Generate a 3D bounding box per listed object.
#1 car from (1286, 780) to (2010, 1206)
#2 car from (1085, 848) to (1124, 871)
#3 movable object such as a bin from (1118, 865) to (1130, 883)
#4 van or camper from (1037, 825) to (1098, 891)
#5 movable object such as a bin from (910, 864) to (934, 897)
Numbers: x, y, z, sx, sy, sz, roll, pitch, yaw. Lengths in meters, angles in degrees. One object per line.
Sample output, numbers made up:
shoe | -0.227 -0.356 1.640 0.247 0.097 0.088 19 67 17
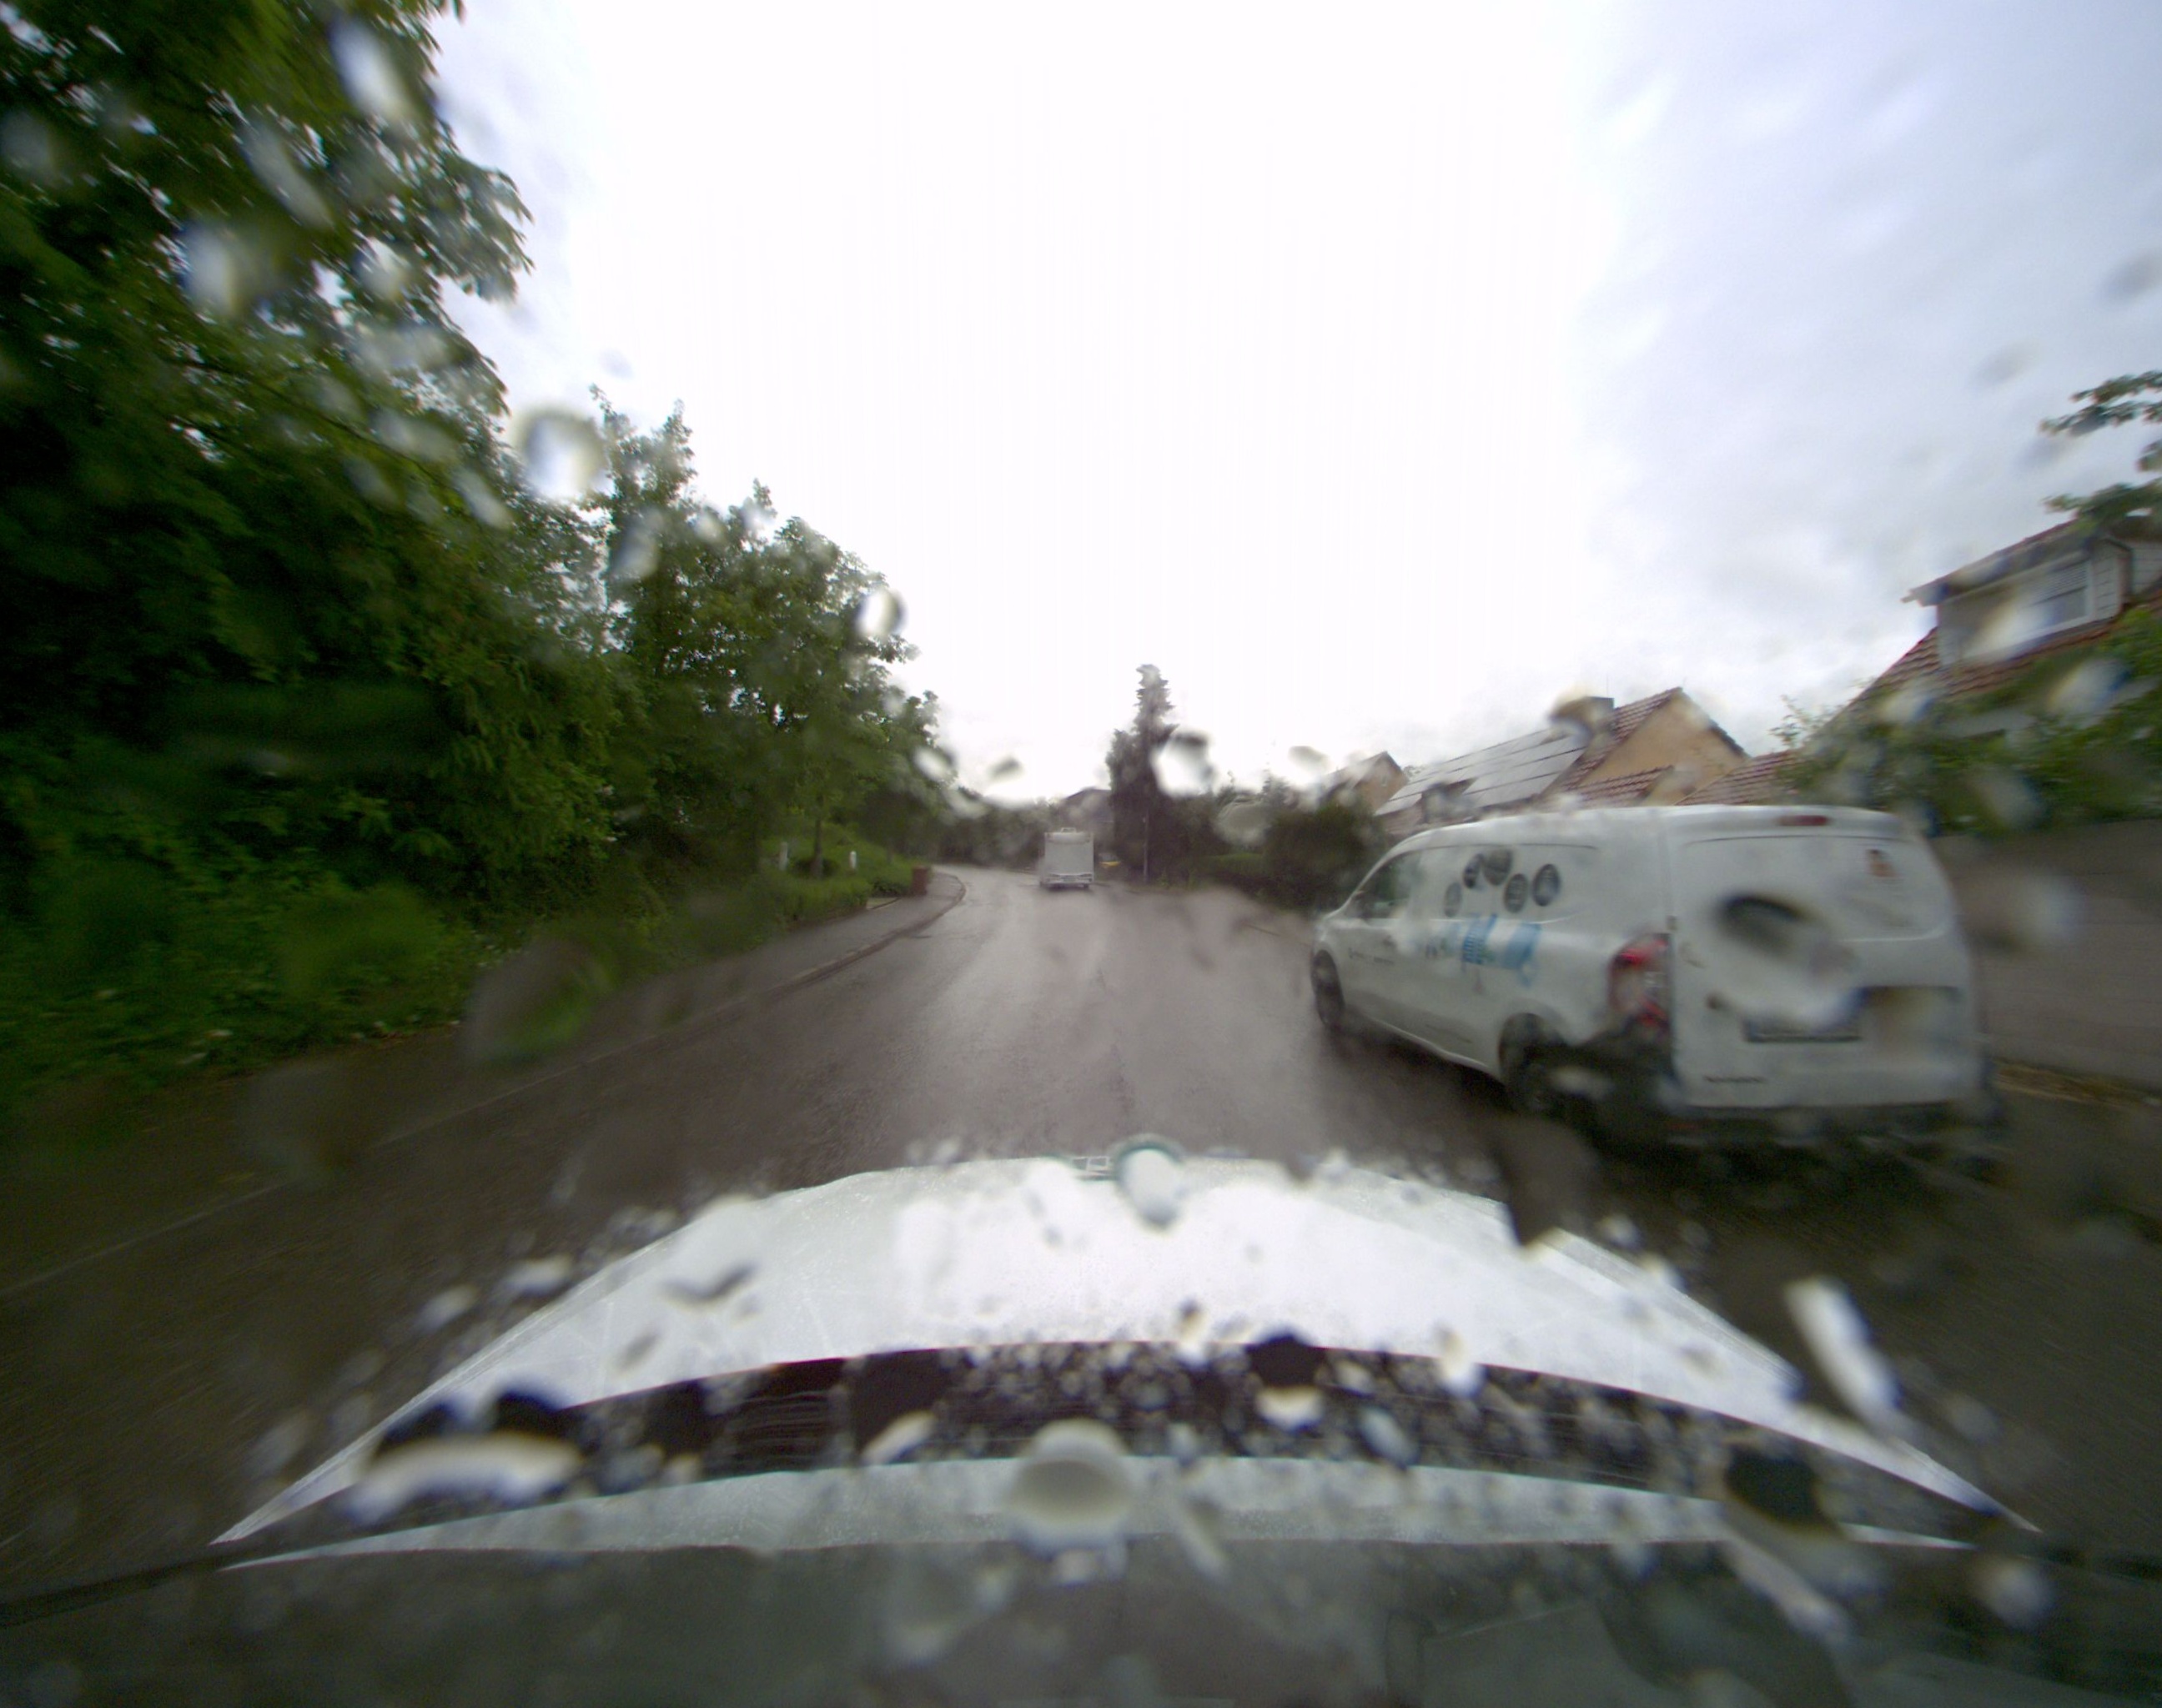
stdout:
car | 3.055 0.607 5.860 1.775 1.803 4.702 0 -1 -3
car | 1.639 0.403 58.409 1.633 1.493 3.405 -5 1 -19
movable object such as a bin | 2.475 1.160 46.540 0.505 0.969 0.592 4 -1 -13
van or camper | -0.765 0.193 39.415 2.536 2.925 5.936 0 -1 -5
movable object such as a bin | -5.753 0.959 29.525 0.692 1.090 0.803 2 3 -2
